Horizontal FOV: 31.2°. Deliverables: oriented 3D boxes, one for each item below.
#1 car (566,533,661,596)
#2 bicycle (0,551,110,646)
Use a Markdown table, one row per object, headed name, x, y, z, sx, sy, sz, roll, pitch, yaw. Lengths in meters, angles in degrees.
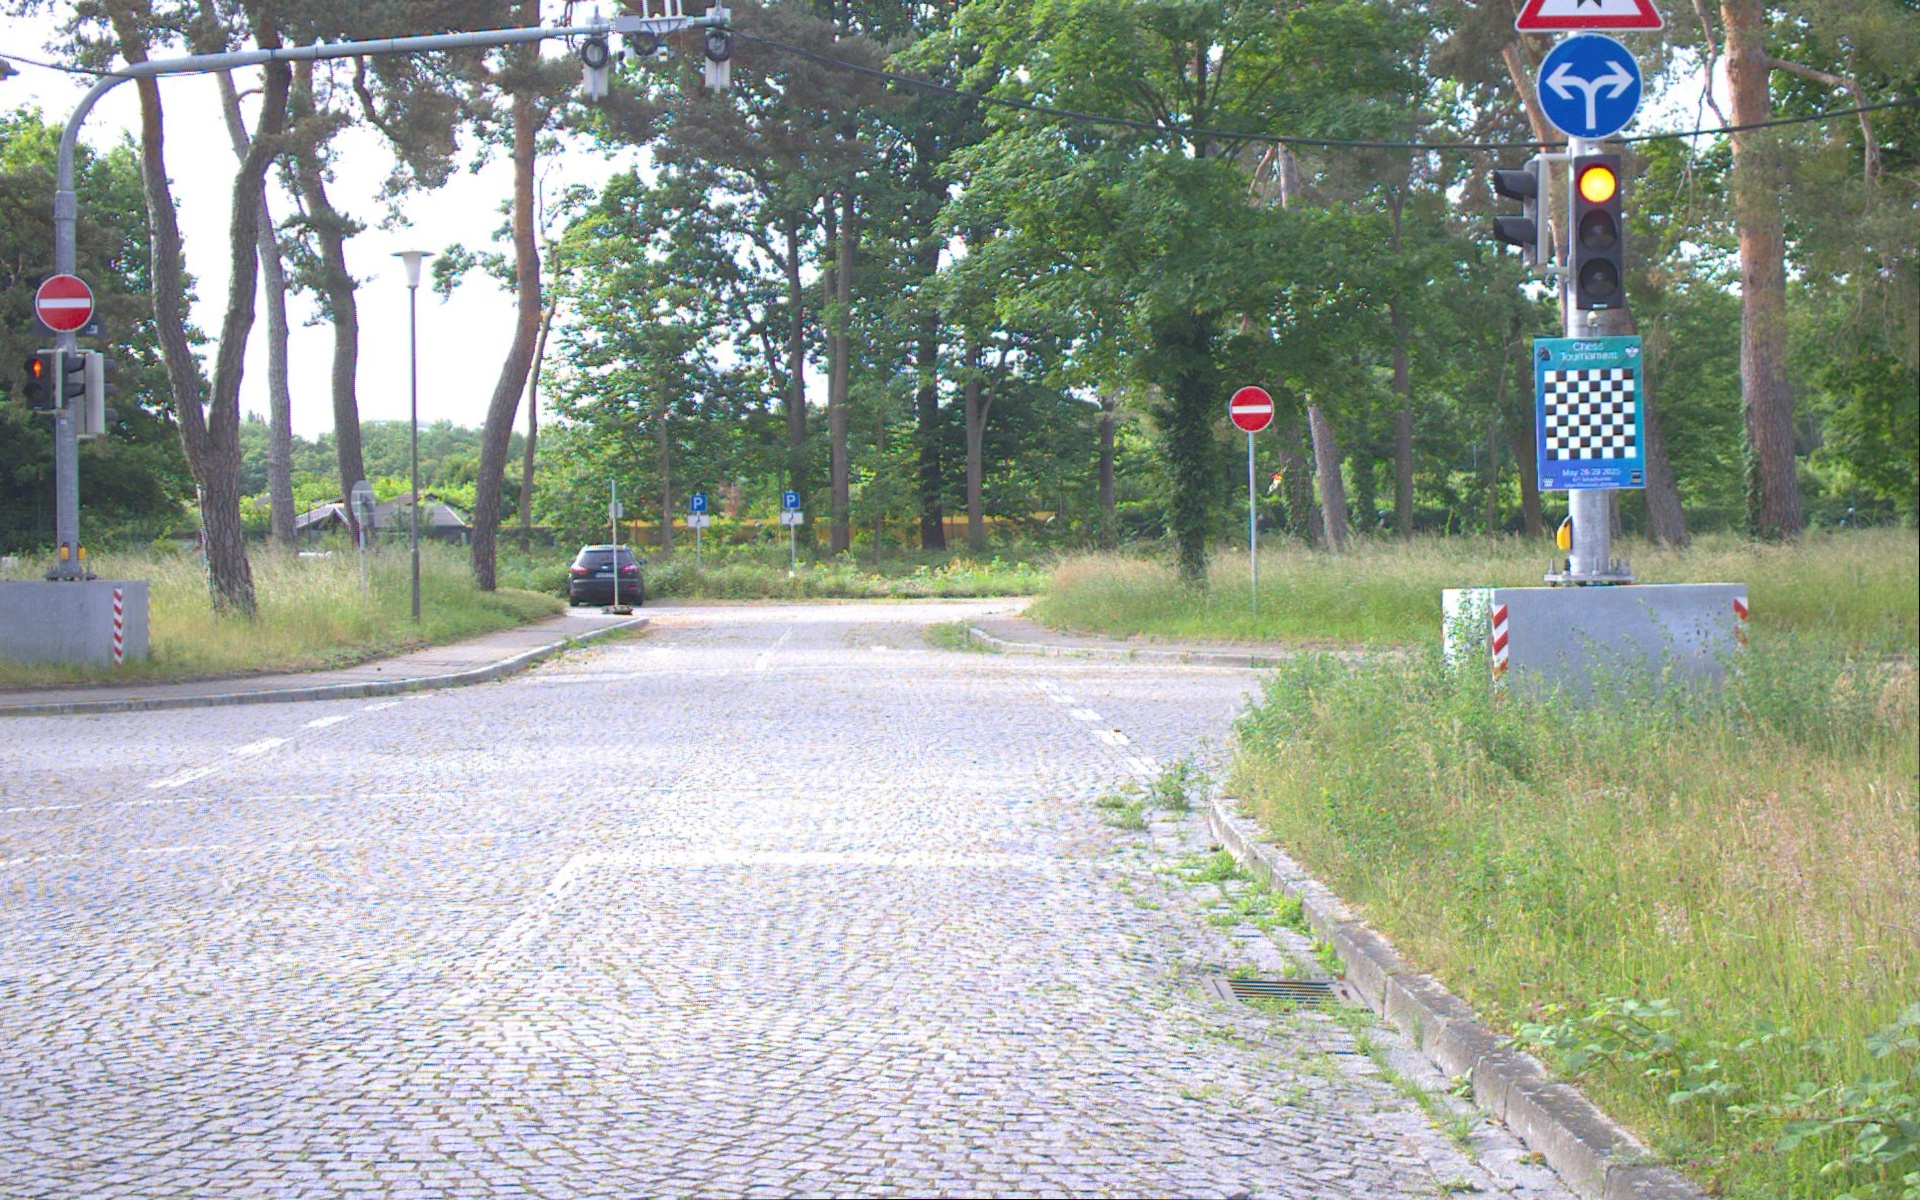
| name | x | y | z | sx | sy | sz | roll | pitch | yaw |
| --- | --- | --- | --- | --- | --- | --- | --- | --- | --- |
| car | -8.726 | -0.922 | 86.864 | 1.993 | 1.503 | 4.000 | 1 | 1 | -1 |
| bicycle | -9.919 | -0.020 | 36.952 | 1.459 | 0.993 | 0.452 | -1 | 1 | -8 |
